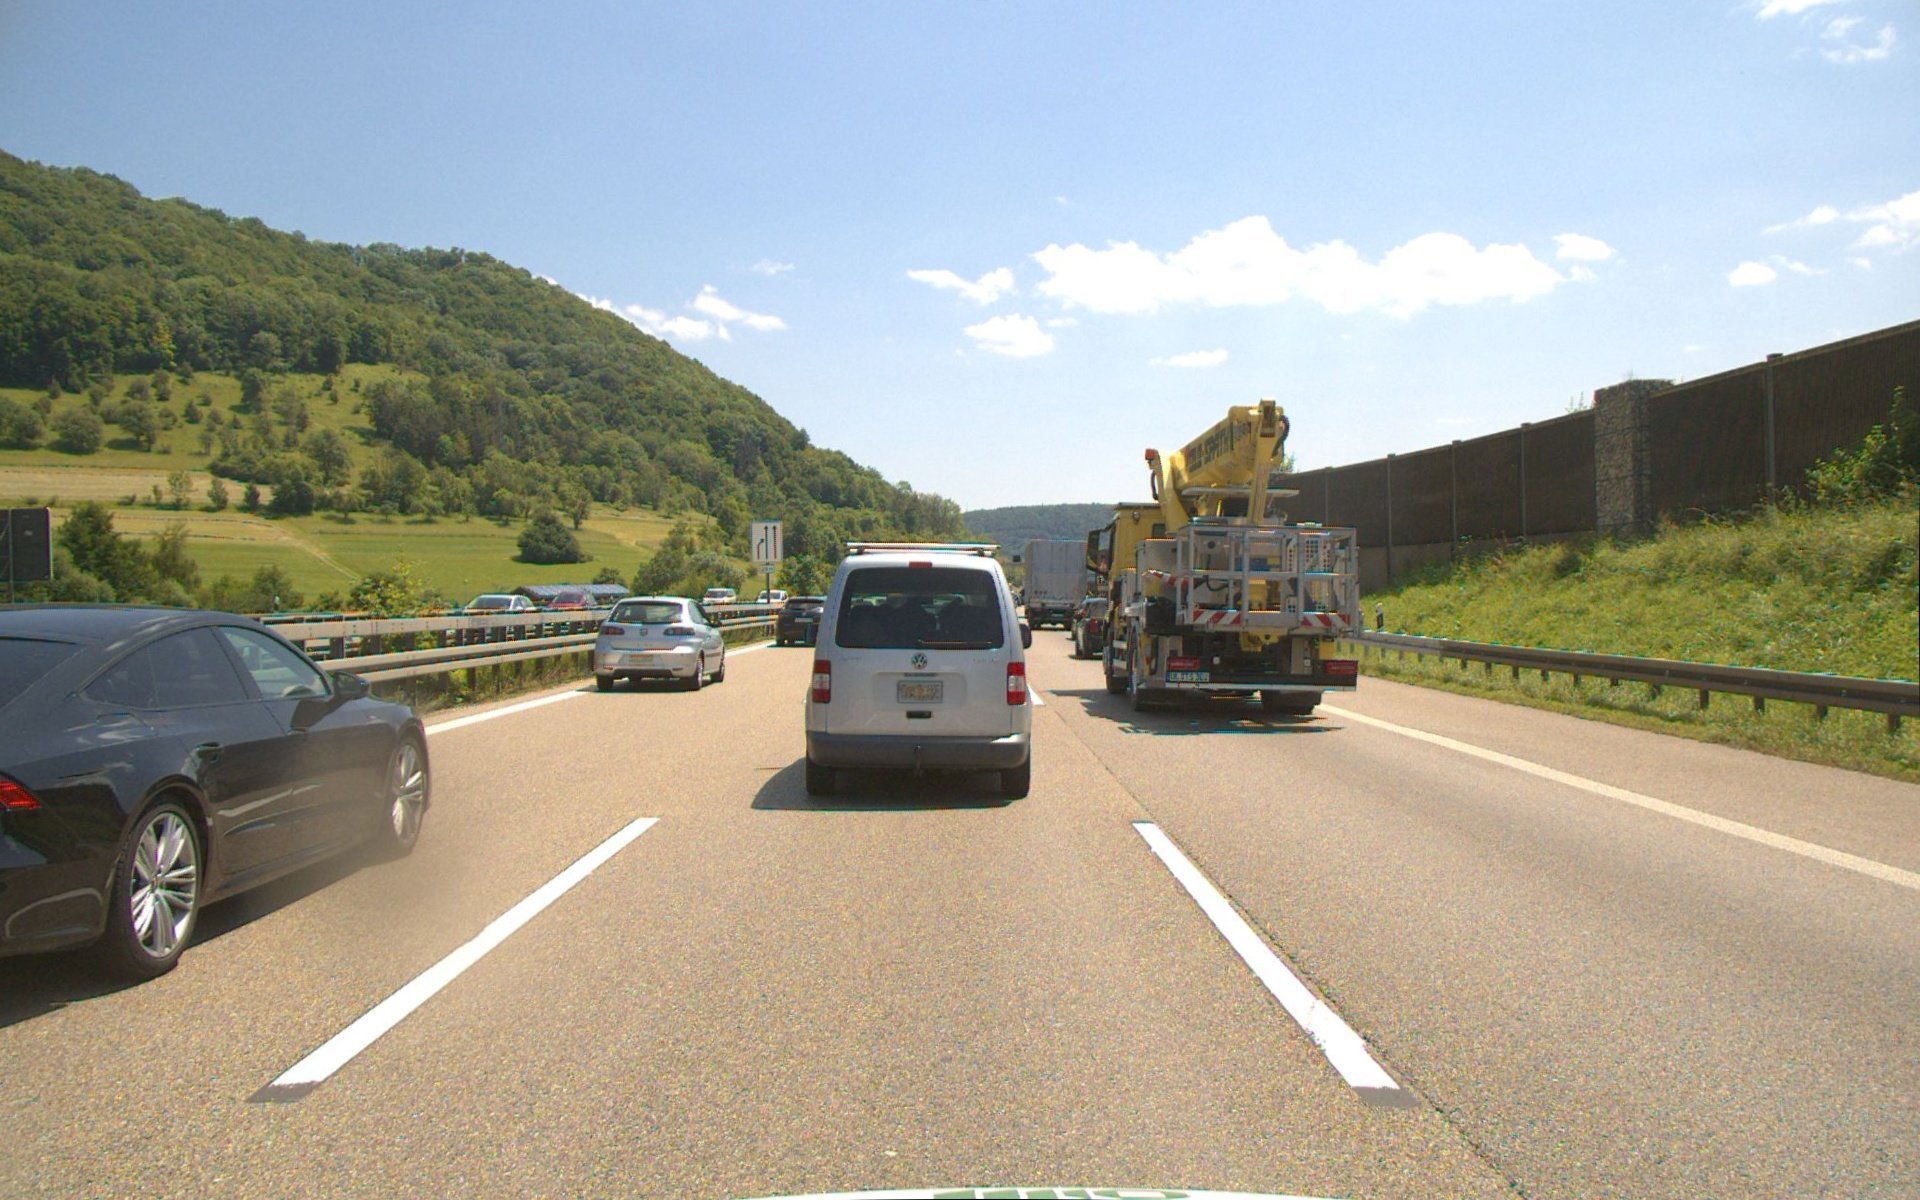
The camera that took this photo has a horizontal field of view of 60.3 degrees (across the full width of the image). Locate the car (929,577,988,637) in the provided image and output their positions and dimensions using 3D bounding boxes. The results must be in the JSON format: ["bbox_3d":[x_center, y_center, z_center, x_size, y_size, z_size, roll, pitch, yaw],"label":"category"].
[{"bbox_3d":[-0.079,0.219,57.414,1.953,2.010,3.999,0,0,-2],"label":"car"}]

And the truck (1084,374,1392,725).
[{"bbox_3d":[3.514,-0.587,23.281,2.649,4.011,8.719,0,0,-2],"label":"truck"}]

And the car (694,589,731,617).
[{"bbox_3d":[-17.996,0.224,120.366,2.018,1.975,4.660,0,0,-1],"label":"car"}]

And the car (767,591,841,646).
[{"bbox_3d":[-4.503,0.514,48.241,1.886,1.525,3.999,1,0,-2],"label":"car"}]

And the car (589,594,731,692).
[{"bbox_3d":[-4.772,0.636,26.785,1.661,1.470,3.861,0,0,-1],"label":"car"}]

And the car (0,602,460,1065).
[{"bbox_3d":[-3.896,0.728,7.586,1.764,1.415,4.968,0,0,-1],"label":"car"}]

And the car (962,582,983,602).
[{"bbox_3d":[1.234,-0.782,164.072,1.953,1.837,3.999,1,0,0],"label":"car"}]

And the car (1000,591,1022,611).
[{"bbox_3d":[4.861,0.095,157.605,1.953,1.837,3.999,1,0,0],"label":"car"}]

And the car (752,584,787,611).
[{"bbox_3d":[-13.439,-0.195,116.815,1.953,1.871,5.226,0,0,-1],"label":"car"}]

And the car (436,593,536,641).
[{"bbox_3d":[-15.203,0.517,53.256,1.953,1.481,4.526,0,0,-1],"label":"car"}]

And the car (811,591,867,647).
[{"bbox_3d":[-4.643,0.707,63.822,1.953,2.049,3.999,-1,0,-2],"label":"car"}]

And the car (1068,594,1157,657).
[{"bbox_3d":[3.740,0.603,41.104,1.750,1.484,3.769,0,0,-2],"label":"car"}]

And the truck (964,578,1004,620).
[{"bbox_3d":[1.485,-0.076,105.042,2.342,2.585,5.937,0,0,-2],"label":"truck"}]

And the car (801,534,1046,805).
[{"bbox_3d":[-0.307,0.481,13.632,1.720,1.900,3.999,0,0,-2],"label":"car"}]

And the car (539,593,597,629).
[{"bbox_3d":[-19.155,0.516,80.936,1.788,1.673,4.544,0,0,-1],"label":"car"}]

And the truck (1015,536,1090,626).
[{"bbox_3d":[4.165,-0.801,76.063,2.880,3.890,8.235,1,0,0],"label":"truck"}]

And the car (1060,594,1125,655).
[{"bbox_3d":[4.570,0.805,57.538,1.953,2.049,4.000,0,0,0],"label":"car"}]
